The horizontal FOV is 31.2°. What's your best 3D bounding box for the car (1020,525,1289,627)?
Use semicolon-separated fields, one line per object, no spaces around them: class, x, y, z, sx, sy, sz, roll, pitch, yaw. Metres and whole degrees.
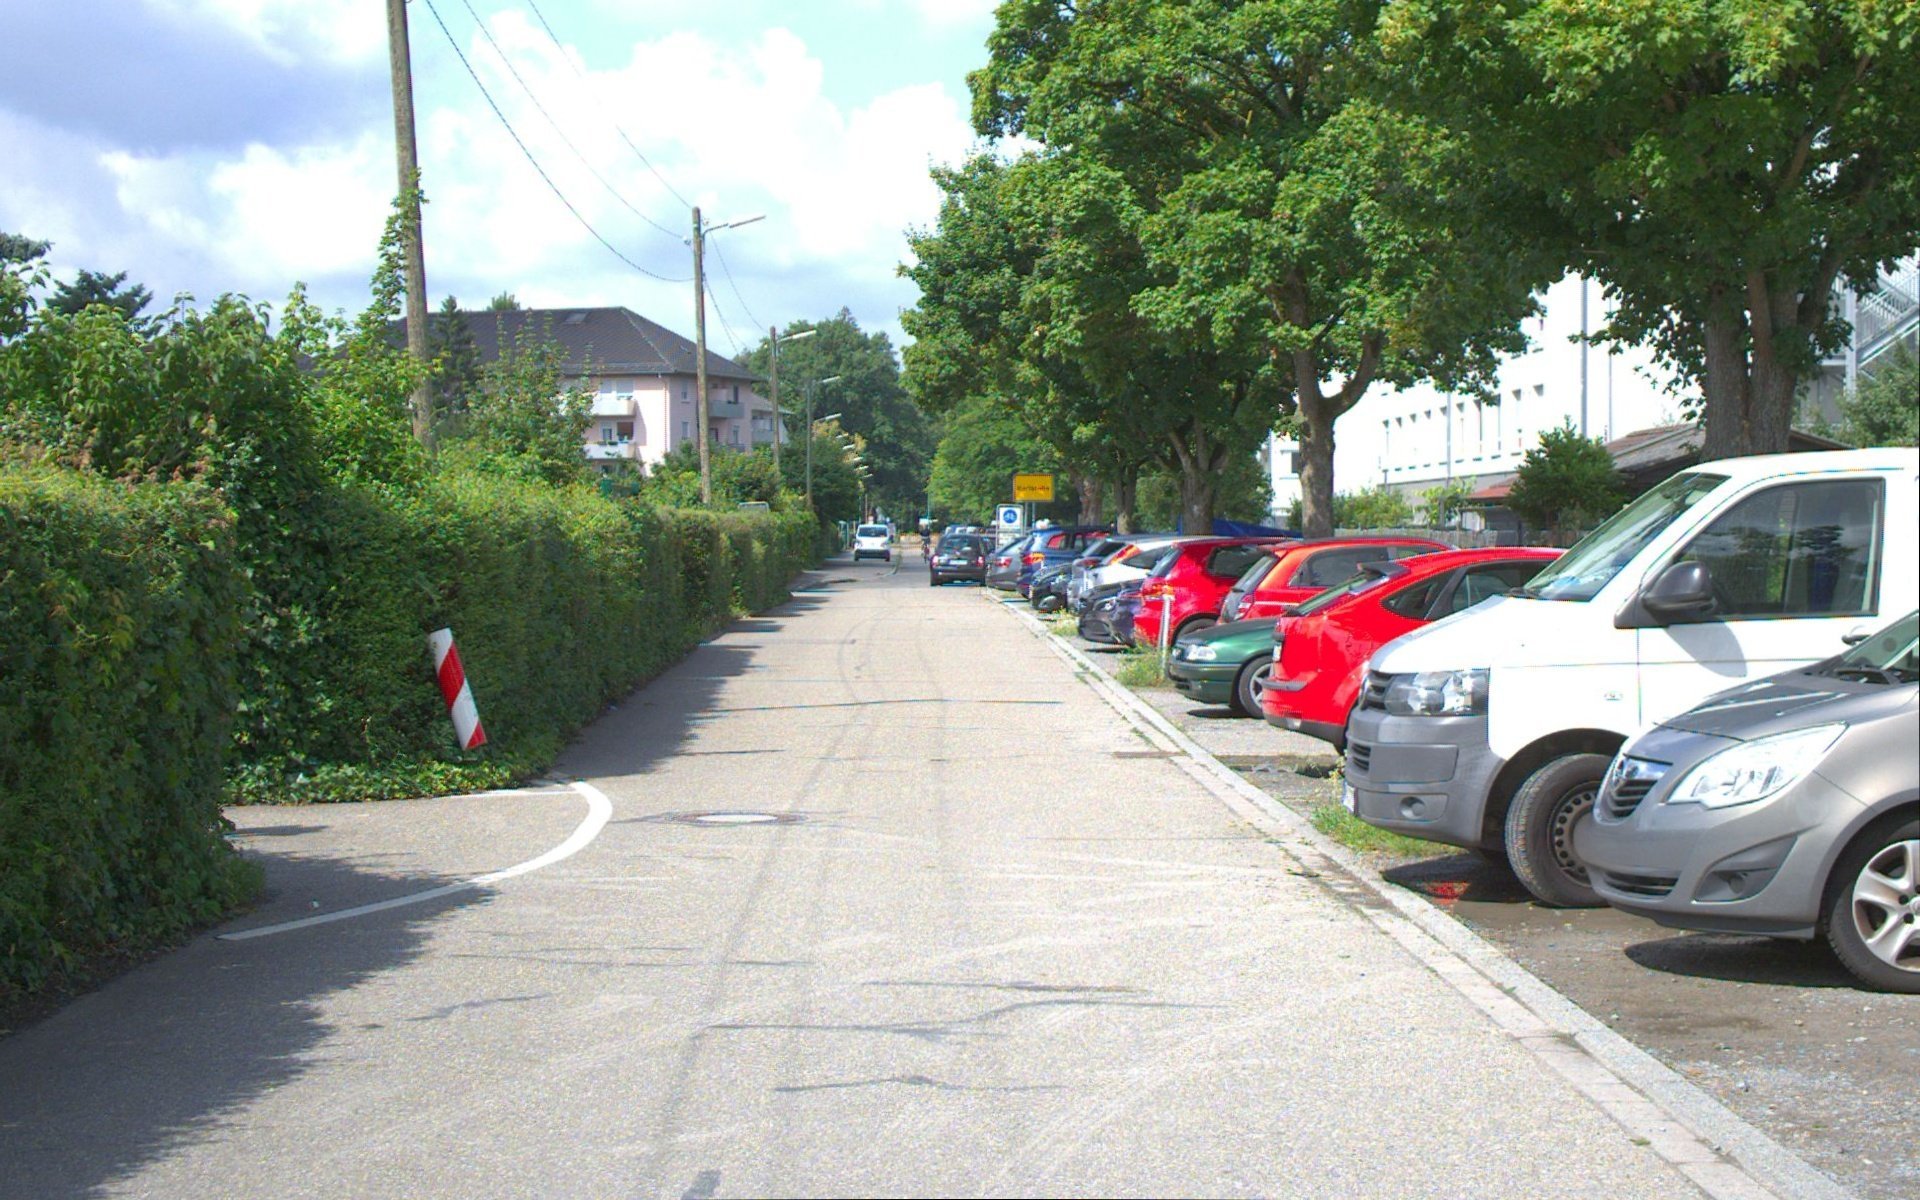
car;3.212;-0.405;57.404;4.302;1.588;2.000;1;1;-1

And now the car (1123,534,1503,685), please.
car;3.790;0.089;37.458;3.987;1.514;1.854;1;1;3

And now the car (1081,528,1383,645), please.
car;3.729;-0.200;47.743;4.065;1.506;1.958;1;1;2

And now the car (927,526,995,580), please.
car;0.039;-1.352;99.409;1.663;1.501;4.000;1;1;4

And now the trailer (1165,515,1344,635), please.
trailer;4.429;-0.387;51.941;2.449;1.714;1.518;1;2;-4

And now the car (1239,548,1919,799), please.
car;4.020;0.449;22.714;4.183;1.499;1.878;1;1;1

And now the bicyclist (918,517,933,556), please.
bicyclist;-1.666;-3.083;167.051;0.659;1.846;1.043;-1;1;2

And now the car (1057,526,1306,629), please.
car;3.506;-0.370;54.823;3.723;1.534;1.850;1;1;-4

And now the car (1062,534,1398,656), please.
car;3.426;-0.078;44.136;4.065;1.450;1.870;1;1;-3

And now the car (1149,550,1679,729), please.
car;3.893;0.326;29.935;4.238;1.423;1.909;1;1;-4

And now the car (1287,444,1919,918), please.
car;3.899;0.278;15.058;4.634;1.880;2.112;-1;1;-2

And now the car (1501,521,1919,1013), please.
car;4.234;0.502;12.319;4.243;1.587;2.000;-1;1;0

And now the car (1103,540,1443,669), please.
car;3.680;0.042;40.971;3.910;1.419;1.958;1;1;2

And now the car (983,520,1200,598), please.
car;2.827;-0.890;74.641;4.548;1.573;1.809;1;1;-2

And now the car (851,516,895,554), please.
car;-4.224;-3.148;167.848;1.903;1.808;4.000;1;1;2

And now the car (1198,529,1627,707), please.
car;4.241;0.153;32.660;3.764;1.568;1.870;1;1;-1

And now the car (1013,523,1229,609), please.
car;3.166;-0.679;68.049;4.154;1.632;1.879;-1;1;0
